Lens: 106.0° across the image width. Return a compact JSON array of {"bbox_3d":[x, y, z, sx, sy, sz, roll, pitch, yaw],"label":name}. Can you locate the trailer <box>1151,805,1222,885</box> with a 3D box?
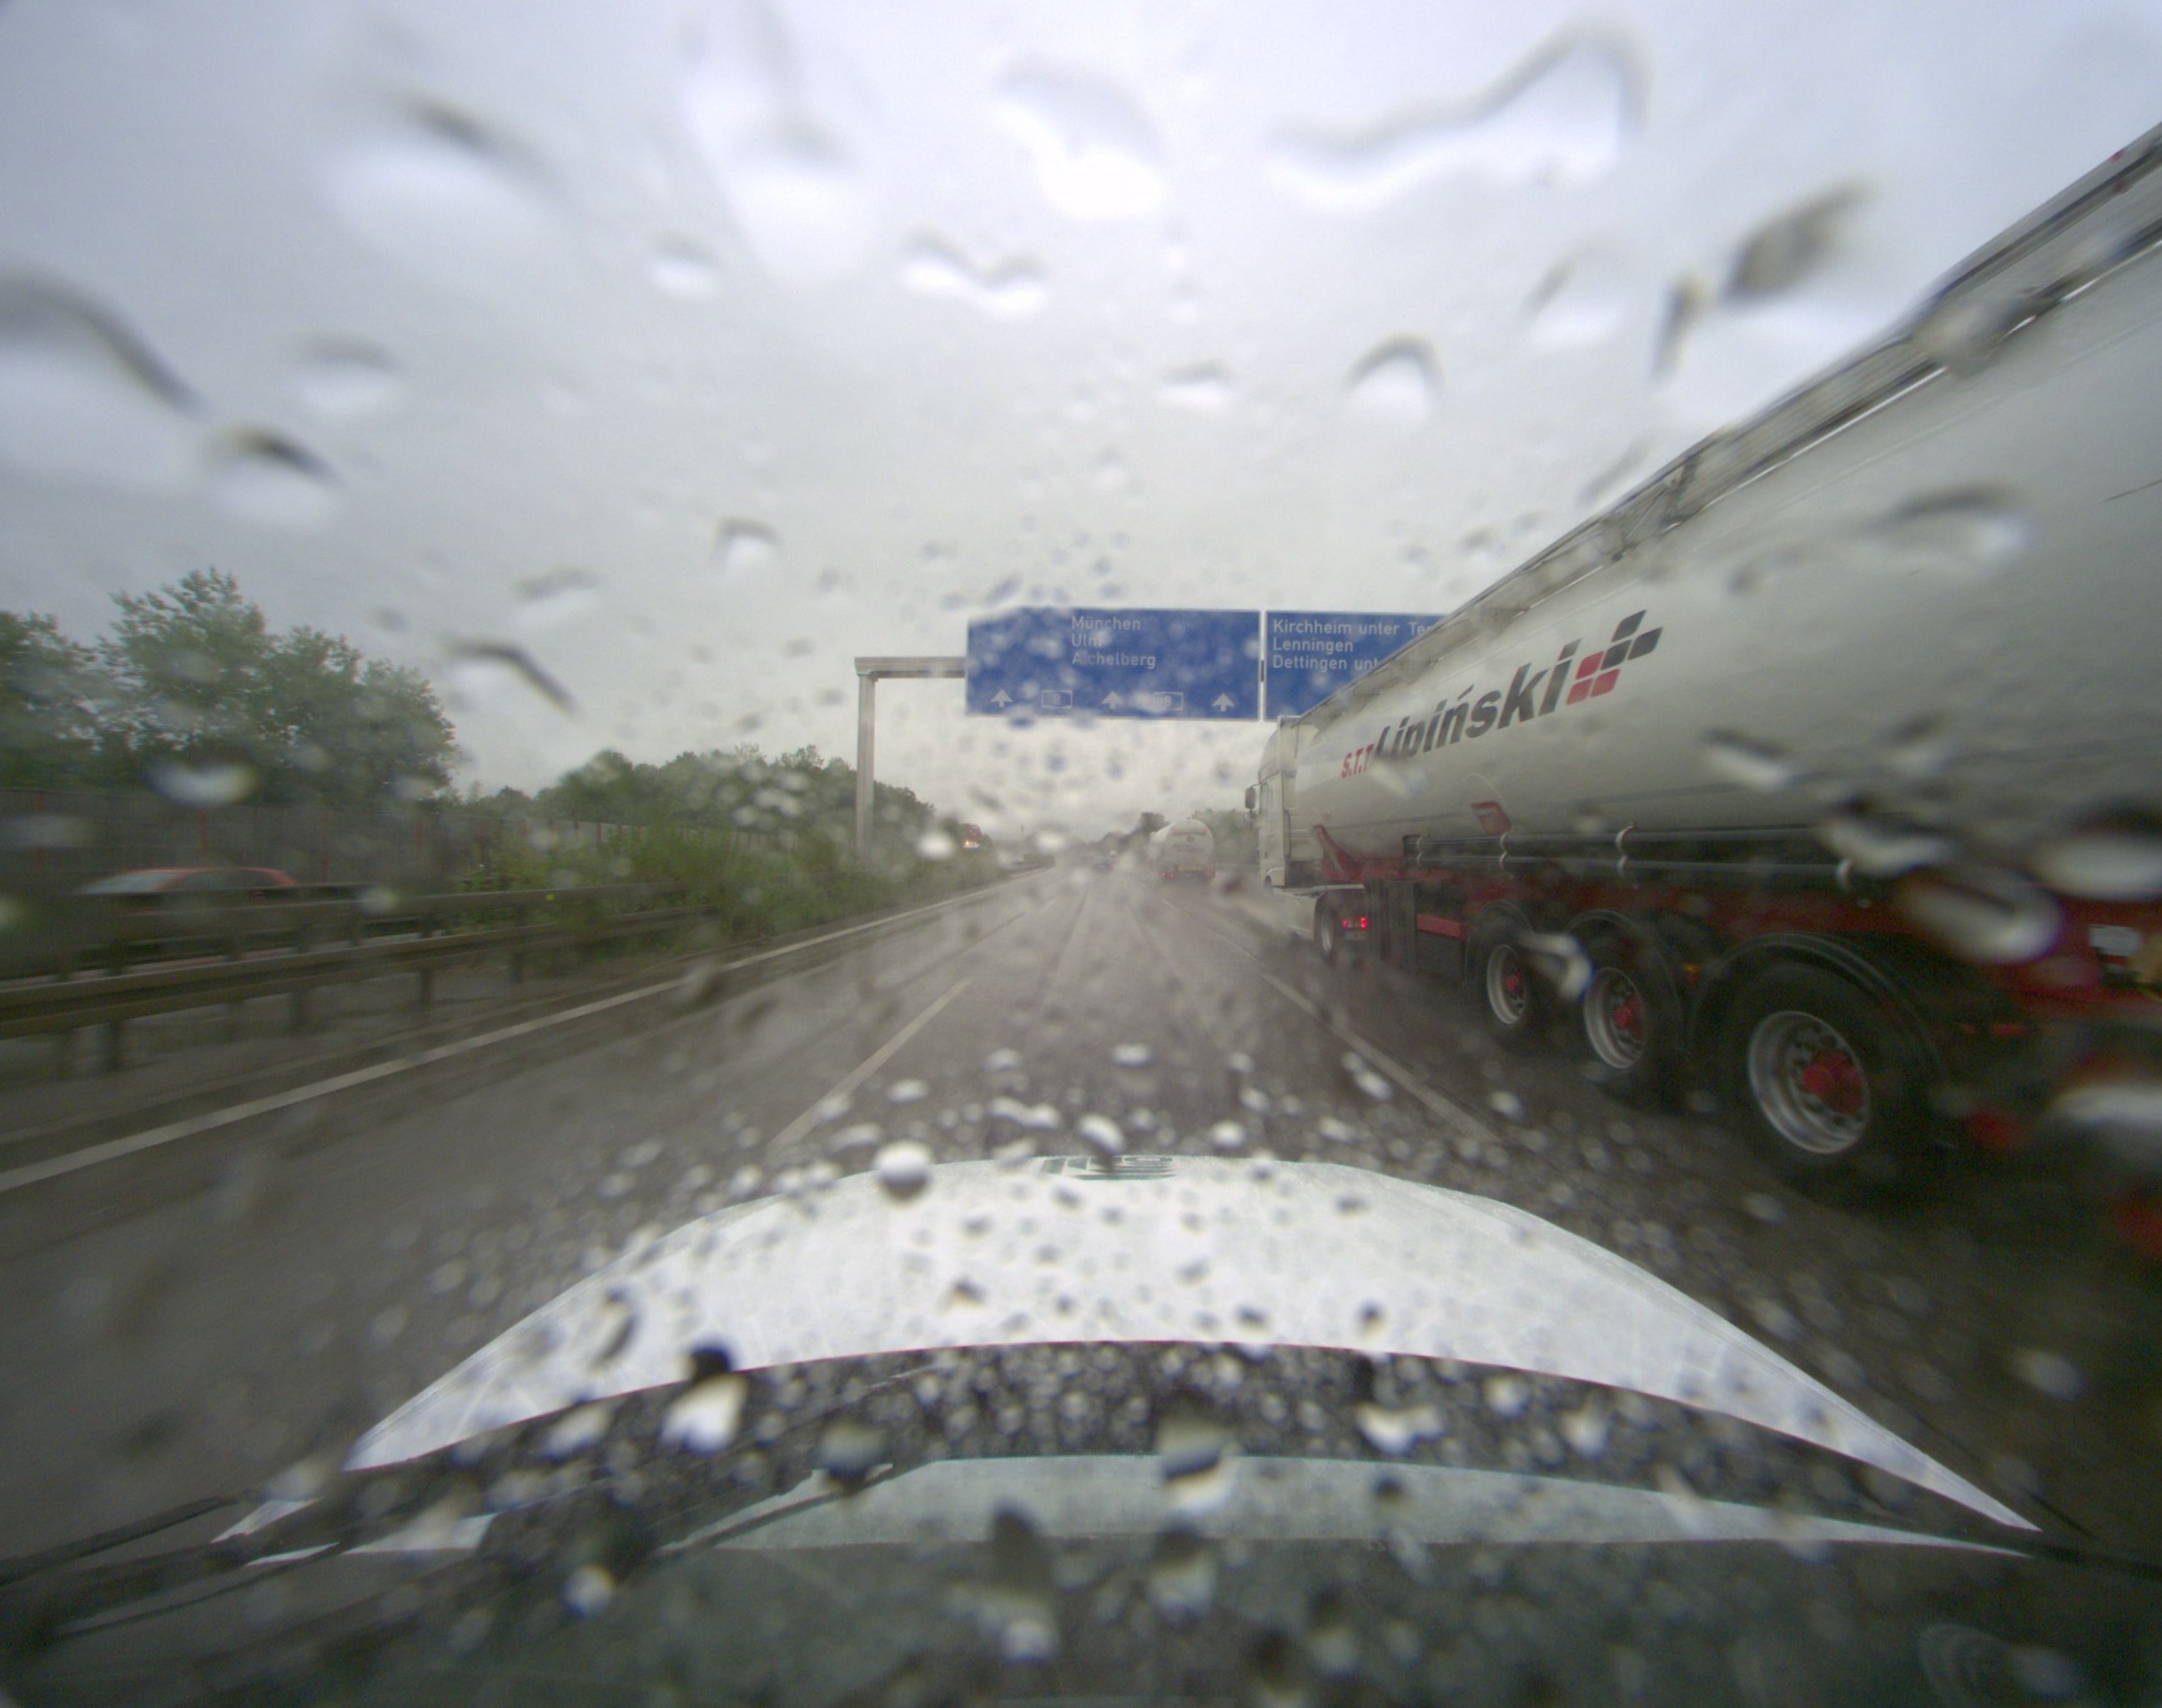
[{"bbox_3d":[5.478,-0.407,43.770,2.993,3.848,8.627,0,0,2],"label":"trailer"}]

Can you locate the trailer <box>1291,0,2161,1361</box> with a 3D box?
[{"bbox_3d":[4.573,-0.507,6.513,3.176,3.670,11.672,0,0,2],"label":"trailer"}]

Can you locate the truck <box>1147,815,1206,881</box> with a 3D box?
[{"bbox_3d":[5.620,-0.310,48.978,2.933,3.684,6.363,0,0,1],"label":"truck"}]

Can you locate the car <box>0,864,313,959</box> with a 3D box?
[{"bbox_3d":[-15.990,0.896,14.114,1.741,1.383,3.742,0,0,2],"label":"car"}]

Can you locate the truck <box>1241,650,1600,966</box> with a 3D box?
[{"bbox_3d":[4.815,-0.551,13.469,3.093,3.806,7.214,0,0,2],"label":"truck"}]

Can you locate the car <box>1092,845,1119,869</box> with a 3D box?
[{"bbox_3d":[1.873,0.179,62.334,1.971,1.756,4.482,-1,1,1],"label":"car"}]
